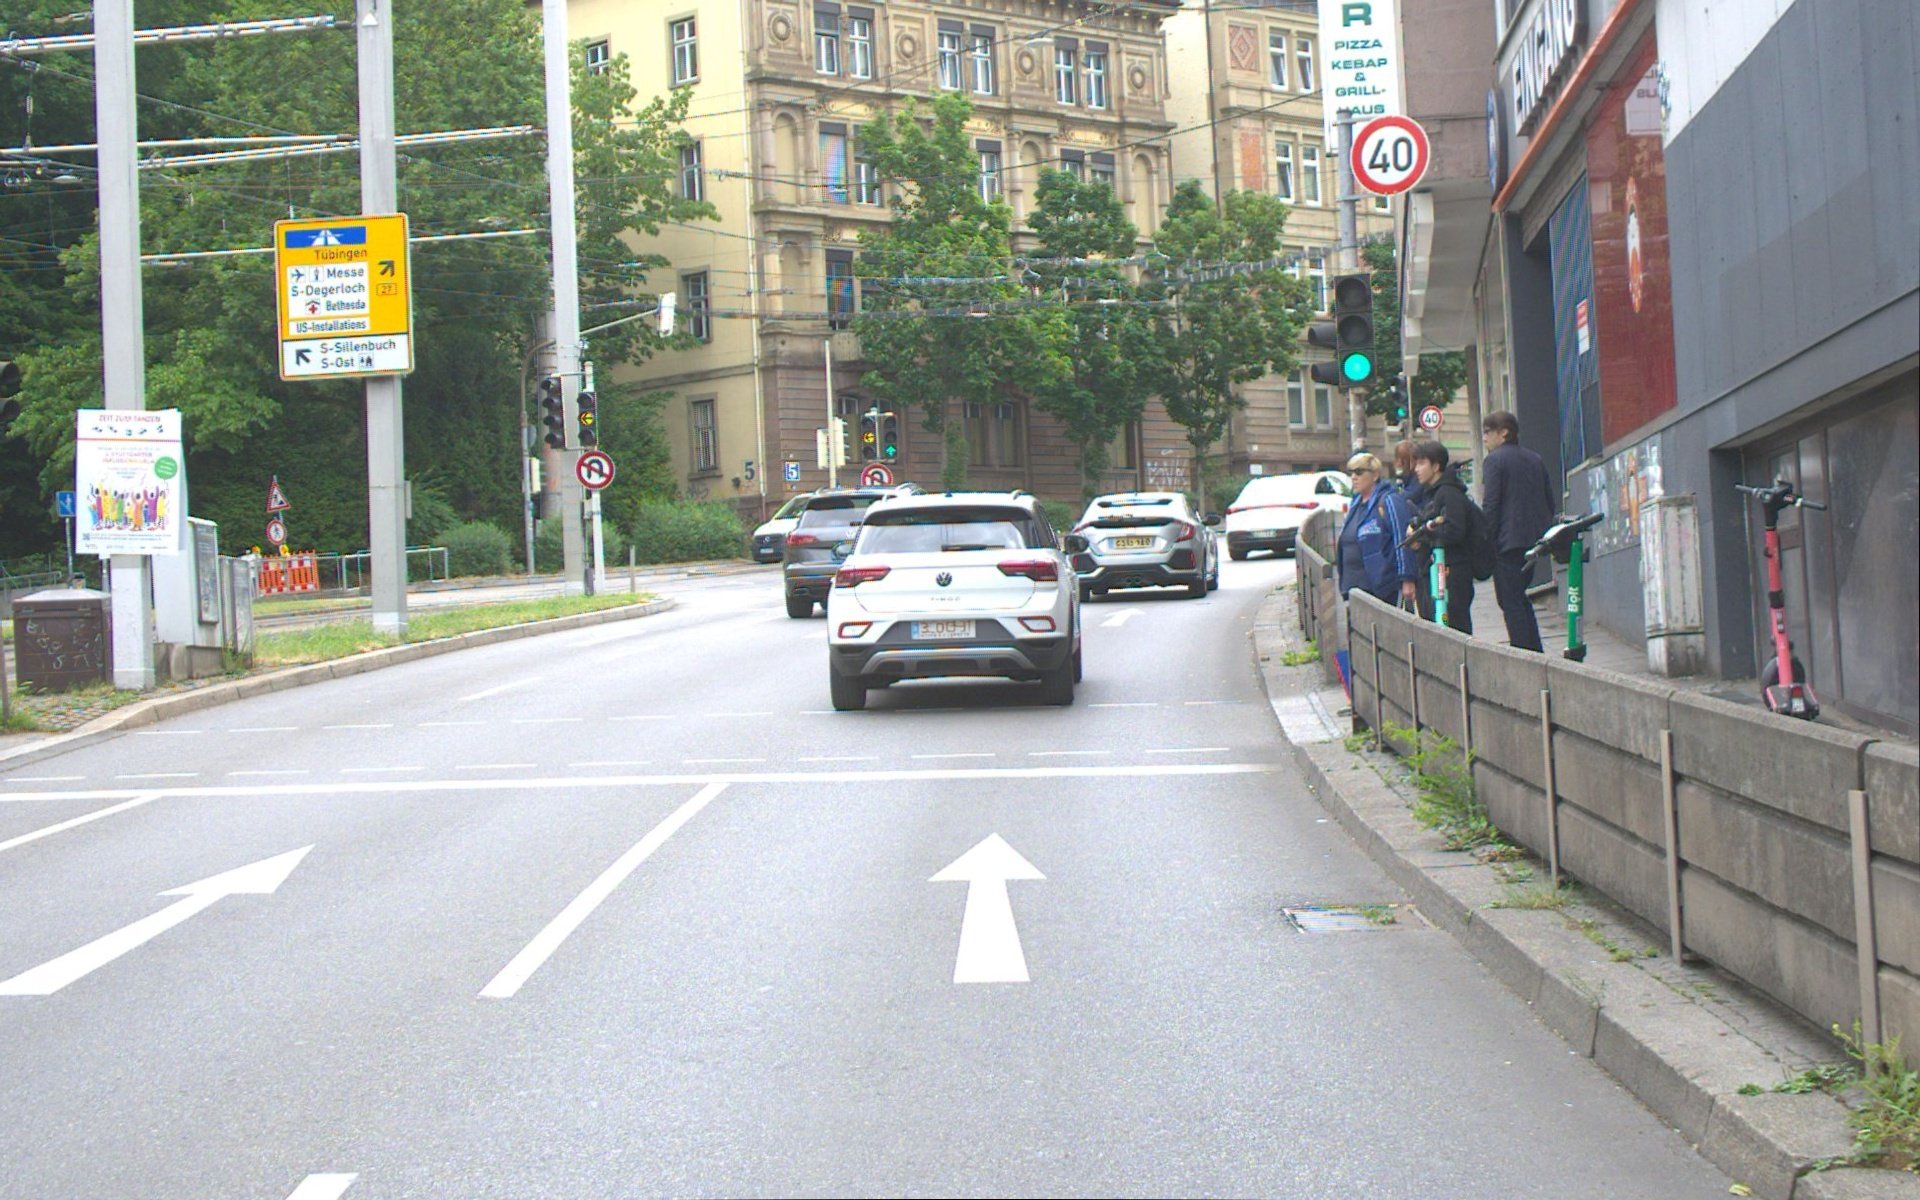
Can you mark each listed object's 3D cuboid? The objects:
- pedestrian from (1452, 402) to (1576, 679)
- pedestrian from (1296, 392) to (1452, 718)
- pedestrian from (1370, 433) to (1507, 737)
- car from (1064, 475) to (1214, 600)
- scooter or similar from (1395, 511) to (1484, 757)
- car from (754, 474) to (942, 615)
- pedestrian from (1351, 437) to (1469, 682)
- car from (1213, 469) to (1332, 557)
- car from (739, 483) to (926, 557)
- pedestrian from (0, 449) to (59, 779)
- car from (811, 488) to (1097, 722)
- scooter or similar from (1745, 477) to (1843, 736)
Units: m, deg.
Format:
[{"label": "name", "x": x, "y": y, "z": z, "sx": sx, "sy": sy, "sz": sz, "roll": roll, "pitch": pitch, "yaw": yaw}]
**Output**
[{"label": "pedestrian", "x": 3.677, "y": -0.396, "z": 22.865, "sx": 0.727, "sy": 1.802, "sz": 0.654, "roll": -1, "pitch": 1, "yaw": 4}, {"label": "pedestrian", "x": 2.654, "y": -0.291, "z": 22.115, "sx": 0.946, "sy": 2.055, "sz": 0.778, "roll": 0, "pitch": 2, "yaw": 4}, {"label": "pedestrian", "x": 2.879, "y": -0.096, "z": 20.744, "sx": 0.738, "sy": 1.787, "sz": 0.655, "roll": -1, "pitch": 1, "yaw": 4}, {"label": "car", "x": 2.452, "y": -0.856, "z": 46.268, "sx": 1.903, "sy": 1.568, "sz": 3.834, "roll": -1, "pitch": 1, "yaw": 4}, {"label": "scooter or similar", "x": 2.557, "y": 0.168, "z": 18.361, "sx": 0.354, "sy": 1.271, "sz": 0.813, "roll": -2, "pitch": 2, "yaw": 2}, {"label": "car", "x": -1.423, "y": -0.742, "z": 45.105, "sx": 1.840, "sy": 1.734, "sz": 3.999, "roll": -1, "pitch": 1, "yaw": 7}, {"label": "pedestrian", "x": 3.184, "y": -0.293, "z": 24.360, "sx": 0.562, "sy": 1.646, "sz": 0.591, "roll": -8, "pitch": 1, "yaw": 4}, {"label": "car", "x": 5.729, "y": -1.607, "z": 63.398, "sx": 1.938, "sy": 1.501, "sz": 3.806, "roll": -2, "pitch": 1, "yaw": 2}, {"label": "car", "x": -3.299, "y": -2.093, "z": 89.888, "sx": 1.998, "sy": 1.843, "sz": 4.981, "roll": -1, "pitch": 0, "yaw": 41}, {"label": "pedestrian", "x": -6.424, "y": 0.114, "z": 21.606, "sx": 0.966, "sy": 2.060, "sz": 1.031, "roll": -4, "pitch": -2, "yaw": 19}, {"label": "car", "x": 0.019, "y": -0.019, "z": 26.070, "sx": 1.938, "sy": 1.561, "sz": 4.046, "roll": -2, "pitch": 1, "yaw": 2}, {"label": "scooter or similar", "x": 4.300, "y": 0.018, "z": 17.729, "sx": 0.428, "sy": 1.271, "sz": 0.980, "roll": -2, "pitch": 2, "yaw": 14}]
